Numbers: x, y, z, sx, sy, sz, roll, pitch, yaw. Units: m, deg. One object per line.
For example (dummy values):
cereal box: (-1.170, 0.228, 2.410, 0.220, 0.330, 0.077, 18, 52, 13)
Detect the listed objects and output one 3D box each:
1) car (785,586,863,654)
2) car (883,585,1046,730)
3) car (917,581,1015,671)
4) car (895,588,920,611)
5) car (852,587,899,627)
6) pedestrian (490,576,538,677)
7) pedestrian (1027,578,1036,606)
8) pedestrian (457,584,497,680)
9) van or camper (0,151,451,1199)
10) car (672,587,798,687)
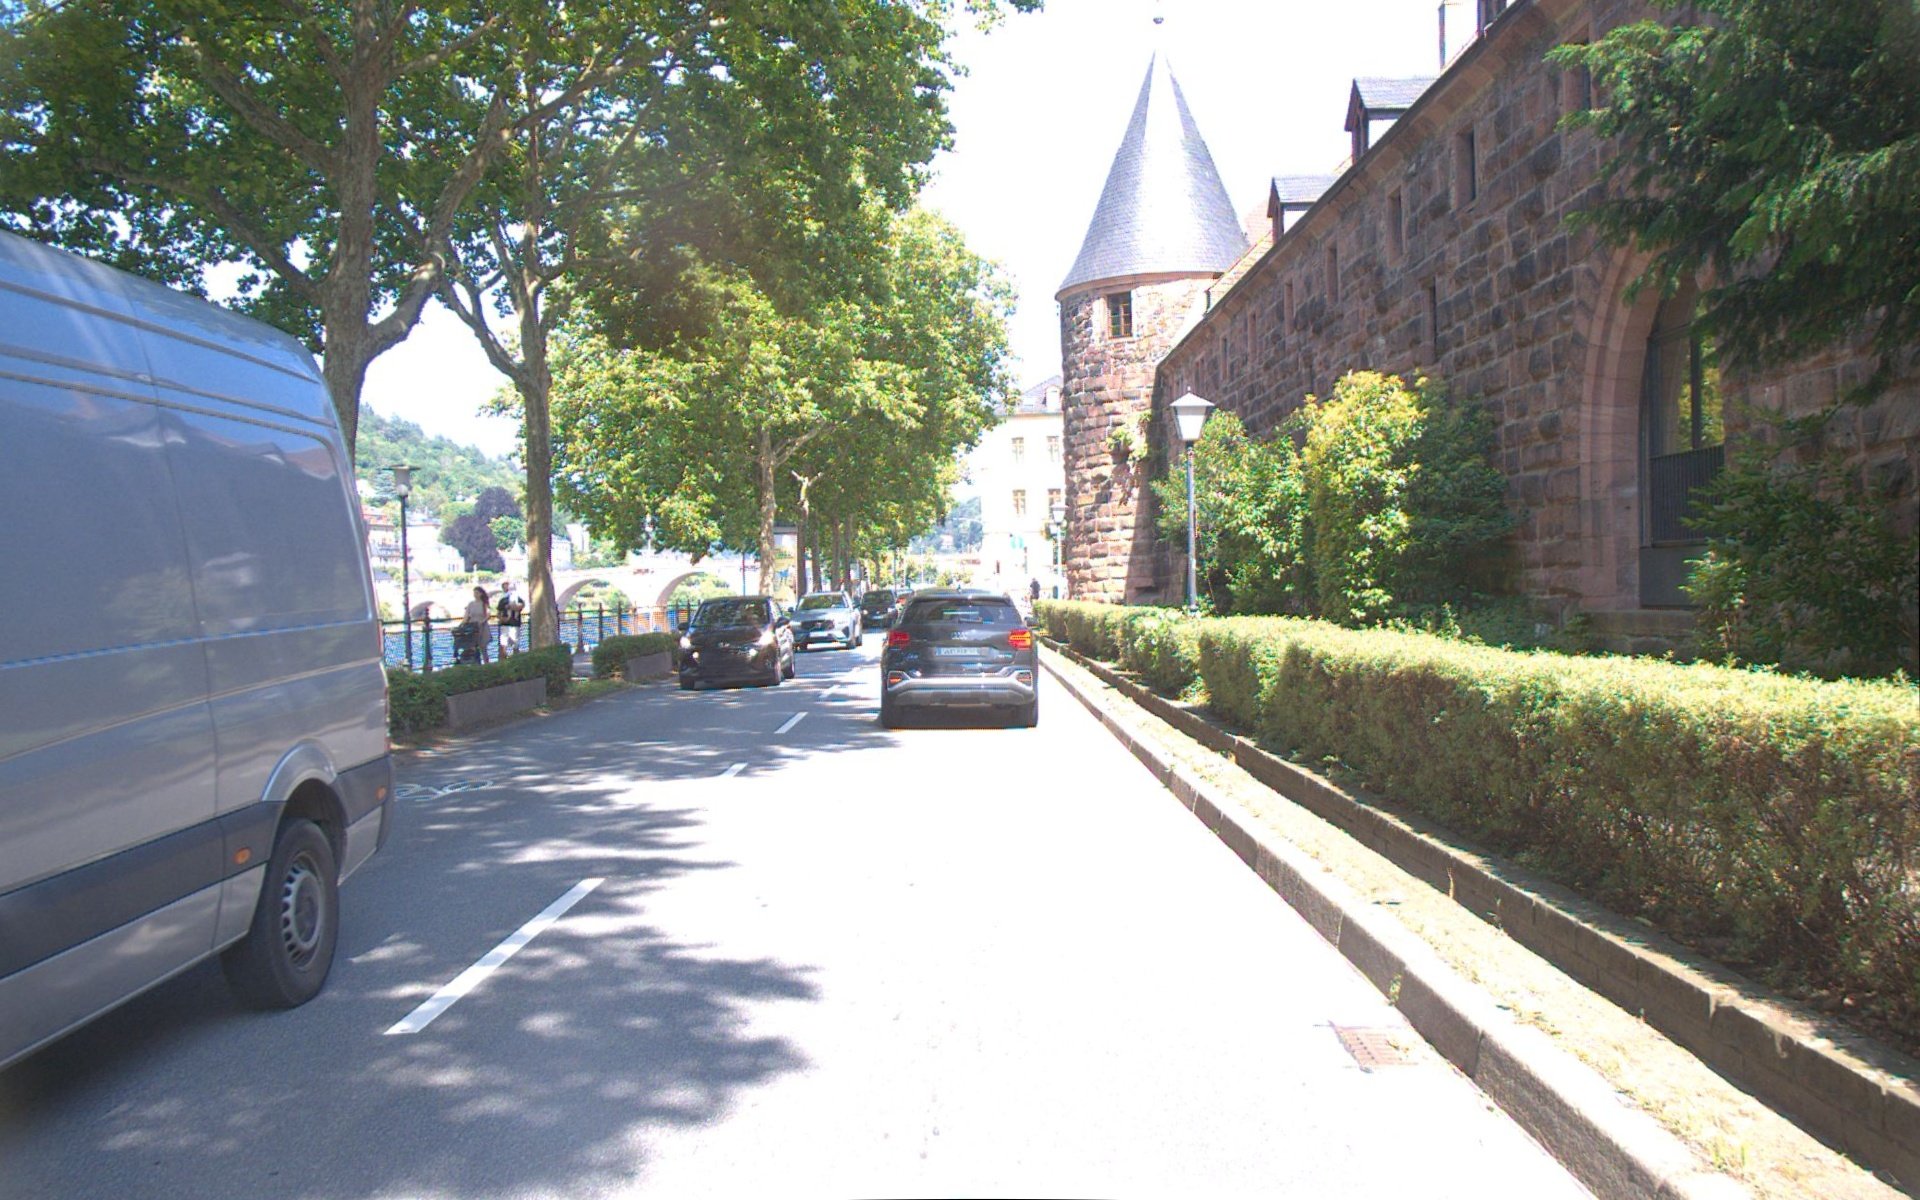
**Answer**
car: (-3.820, 0.535, 47.020, 1.839, 1.728, 4.258, -3, 0, -1)
car: (0.007, 0.599, 19.292, 1.713, 1.520, 3.628, 0, 0, -1)
car: (0.128, 0.470, 32.594, 1.764, 1.589, 3.716, -3, 0, 0)
car: (-3.757, -0.043, 118.781, 1.581, 1.549, 3.477, -3, 0, 2)
car: (-3.794, 0.298, 74.852, 1.727, 1.676, 4.090, -3, 0, 1)
pedestrian: (-8.648, 0.503, 32.110, 0.628, 1.902, 0.806, -2, 0, 0)
pedestrian: (4.218, -0.482, 97.605, 0.545, 1.661, 0.660, 0, 0, 1)
pedestrian: (-9.242, 0.610, 31.650, 0.506, 1.799, 0.592, -2, 0, 0)
van or camper: (-3.318, 0.226, 4.514, 1.921, 2.611, 5.840, -3, 0, 0)
car: (-3.768, 0.584, 28.247, 1.616, 1.494, 3.778, -3, 0, -1)
